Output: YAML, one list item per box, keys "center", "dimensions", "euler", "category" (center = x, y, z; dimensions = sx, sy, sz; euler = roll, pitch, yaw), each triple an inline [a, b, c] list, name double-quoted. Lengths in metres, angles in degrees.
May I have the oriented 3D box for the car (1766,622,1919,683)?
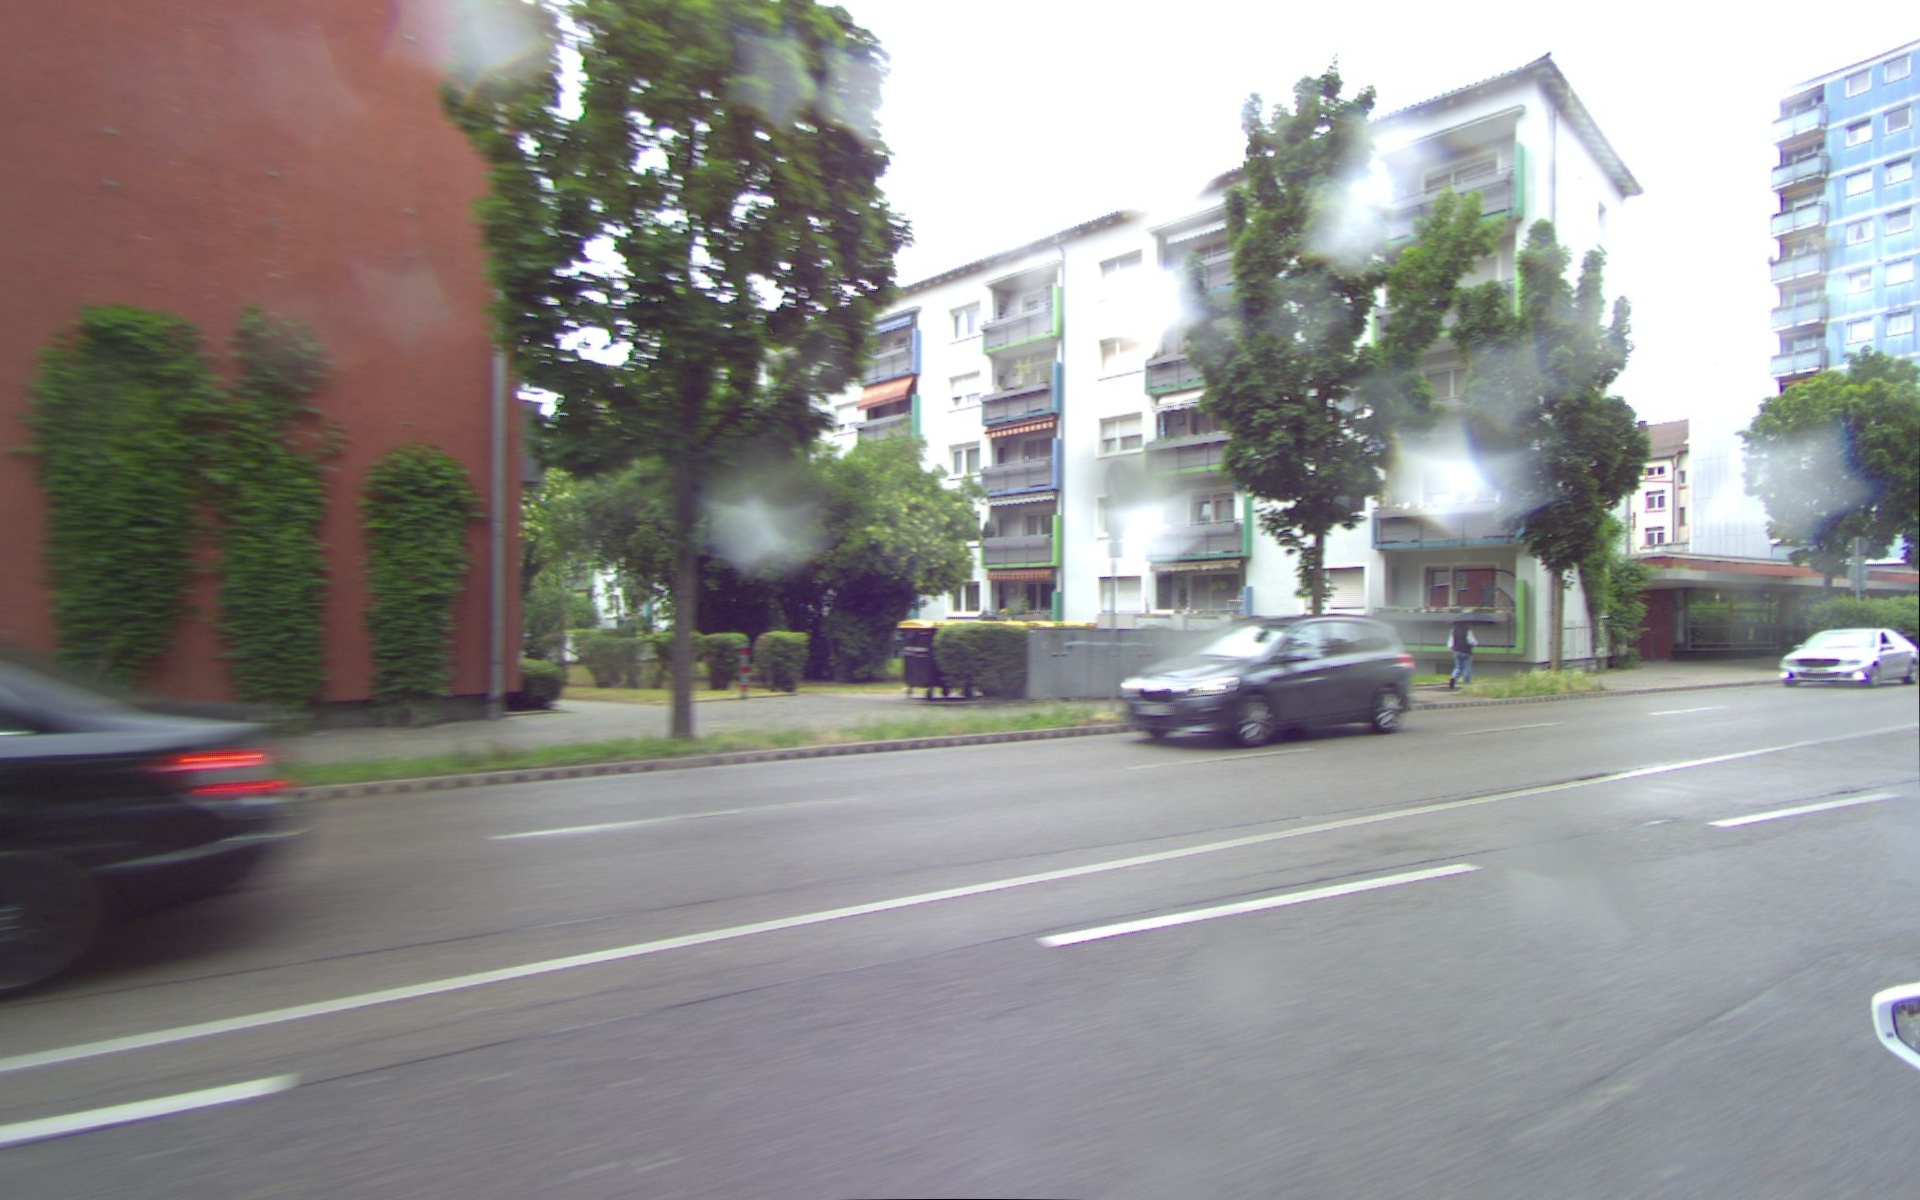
- center: [22.301, 1.290, 25.252]
  dimensions: [4.578, 1.409, 1.863]
  euler: [1, -3, -34]
  category: "car"

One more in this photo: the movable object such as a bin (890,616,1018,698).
- center: [-0.099, 0.951, 17.511]
  dimensions: [1.947, 1.349, 1.149]
  euler: [1, -1, -36]
  category: "movable object such as a bin"

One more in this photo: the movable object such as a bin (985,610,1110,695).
- center: [1.644, 0.951, 18.782]
  dimensions: [2.067, 1.504, 1.207]
  euler: [1, -1, -36]
  category: "movable object such as a bin"

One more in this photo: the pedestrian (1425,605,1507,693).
- center: [10.961, 1.035, 21.772]
  dimensions: [1.249, 1.828, 1.128]
  euler: [1, -1, -33]
  category: "pedestrian"

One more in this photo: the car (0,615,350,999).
- center: [-4.908, 0.786, 3.827]
  dimensions: [4.317, 1.403, 1.829]
  euler: [1, -3, -36]
  category: "car"

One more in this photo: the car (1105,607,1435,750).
- center: [4.228, 0.962, 13.476]
  dimensions: [4.417, 1.623, 1.863]
  euler: [1, -3, -34]
  category: "car"
